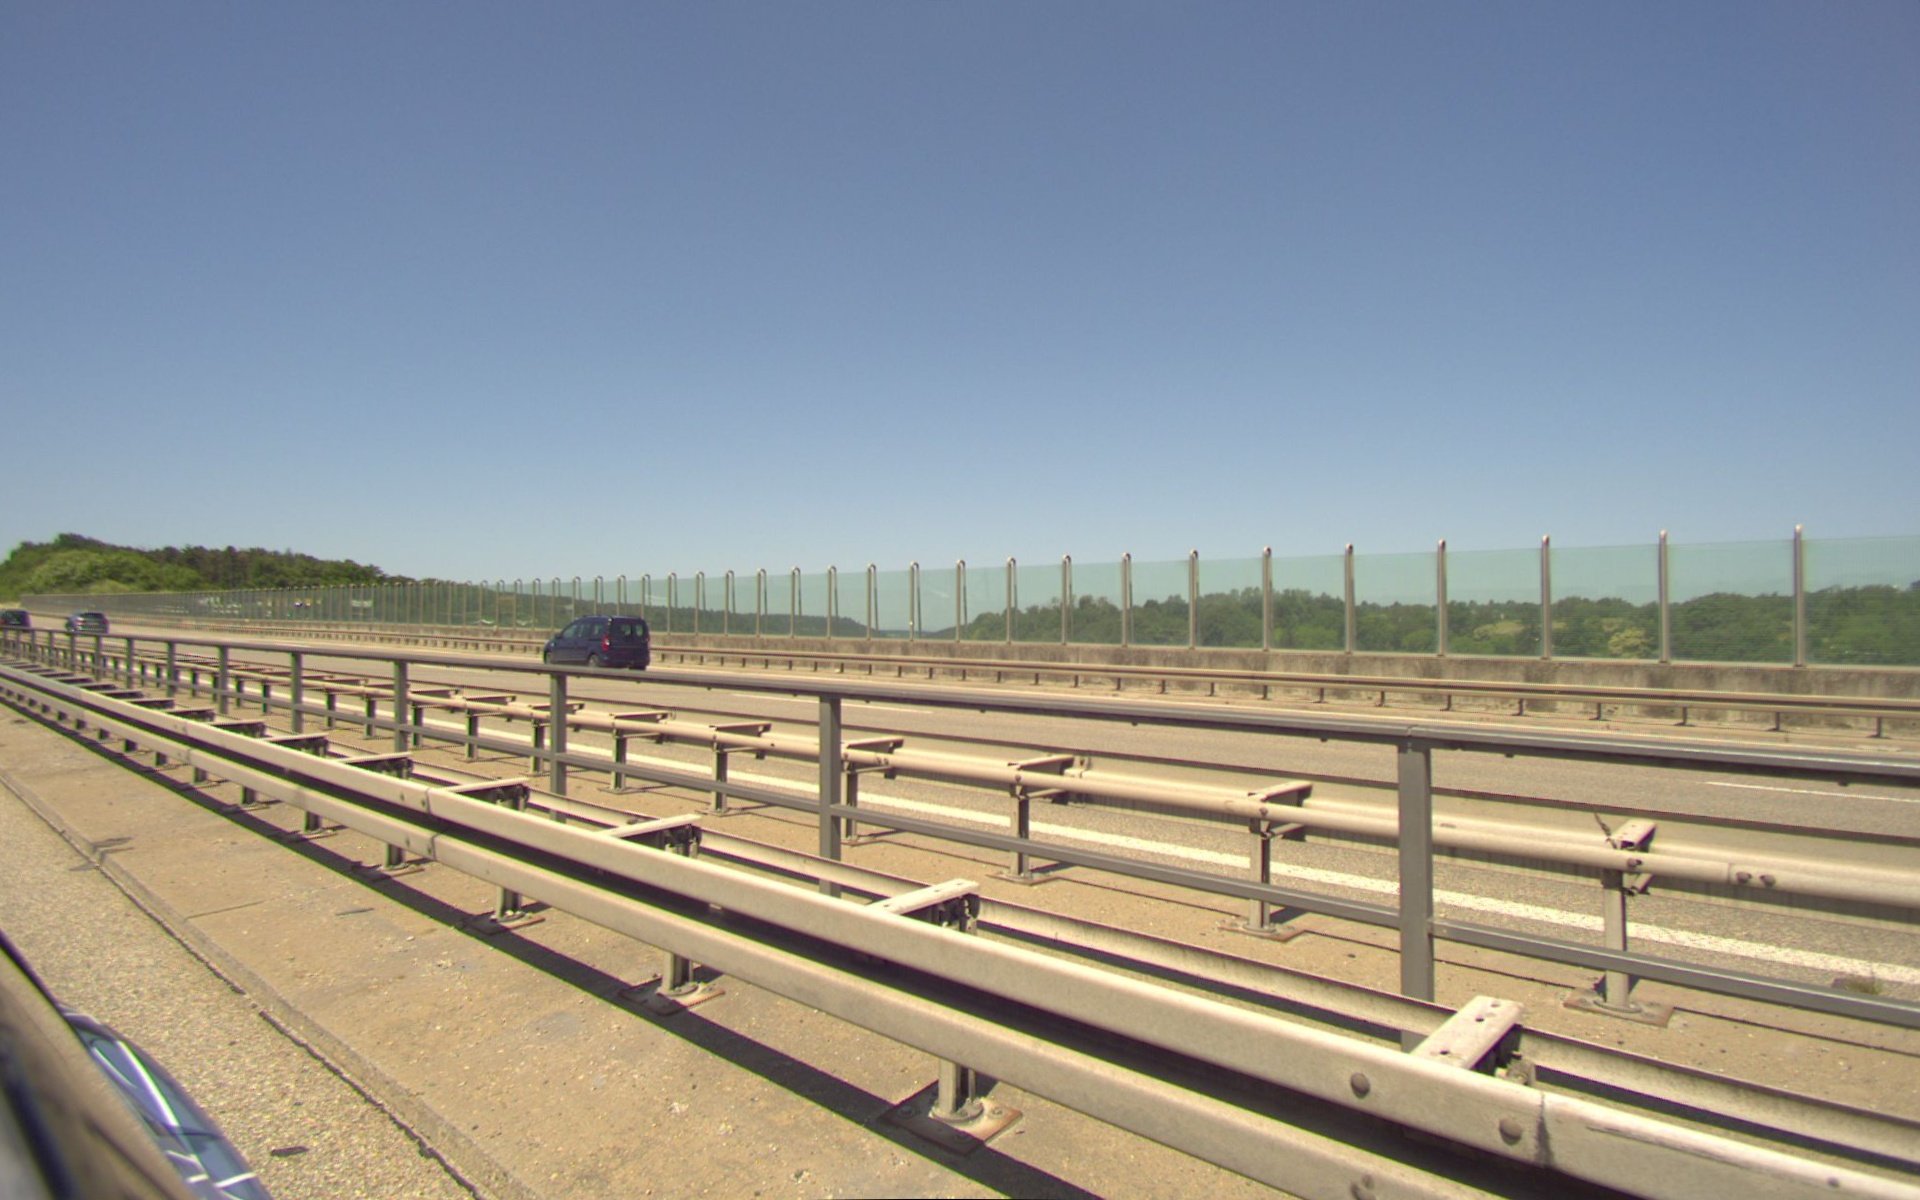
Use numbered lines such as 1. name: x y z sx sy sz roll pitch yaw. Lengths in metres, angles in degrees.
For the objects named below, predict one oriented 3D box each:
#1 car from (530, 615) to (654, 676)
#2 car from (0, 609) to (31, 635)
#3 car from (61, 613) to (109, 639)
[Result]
1. car: -11.597 1.369 31.748 4.299 1.798 1.764 -1 -2 41
2. car: -65.461 1.505 69.661 4.099 1.734 1.736 -1 -2 41
3. car: -55.953 1.632 64.724 3.998 1.559 1.736 0 -2 41
